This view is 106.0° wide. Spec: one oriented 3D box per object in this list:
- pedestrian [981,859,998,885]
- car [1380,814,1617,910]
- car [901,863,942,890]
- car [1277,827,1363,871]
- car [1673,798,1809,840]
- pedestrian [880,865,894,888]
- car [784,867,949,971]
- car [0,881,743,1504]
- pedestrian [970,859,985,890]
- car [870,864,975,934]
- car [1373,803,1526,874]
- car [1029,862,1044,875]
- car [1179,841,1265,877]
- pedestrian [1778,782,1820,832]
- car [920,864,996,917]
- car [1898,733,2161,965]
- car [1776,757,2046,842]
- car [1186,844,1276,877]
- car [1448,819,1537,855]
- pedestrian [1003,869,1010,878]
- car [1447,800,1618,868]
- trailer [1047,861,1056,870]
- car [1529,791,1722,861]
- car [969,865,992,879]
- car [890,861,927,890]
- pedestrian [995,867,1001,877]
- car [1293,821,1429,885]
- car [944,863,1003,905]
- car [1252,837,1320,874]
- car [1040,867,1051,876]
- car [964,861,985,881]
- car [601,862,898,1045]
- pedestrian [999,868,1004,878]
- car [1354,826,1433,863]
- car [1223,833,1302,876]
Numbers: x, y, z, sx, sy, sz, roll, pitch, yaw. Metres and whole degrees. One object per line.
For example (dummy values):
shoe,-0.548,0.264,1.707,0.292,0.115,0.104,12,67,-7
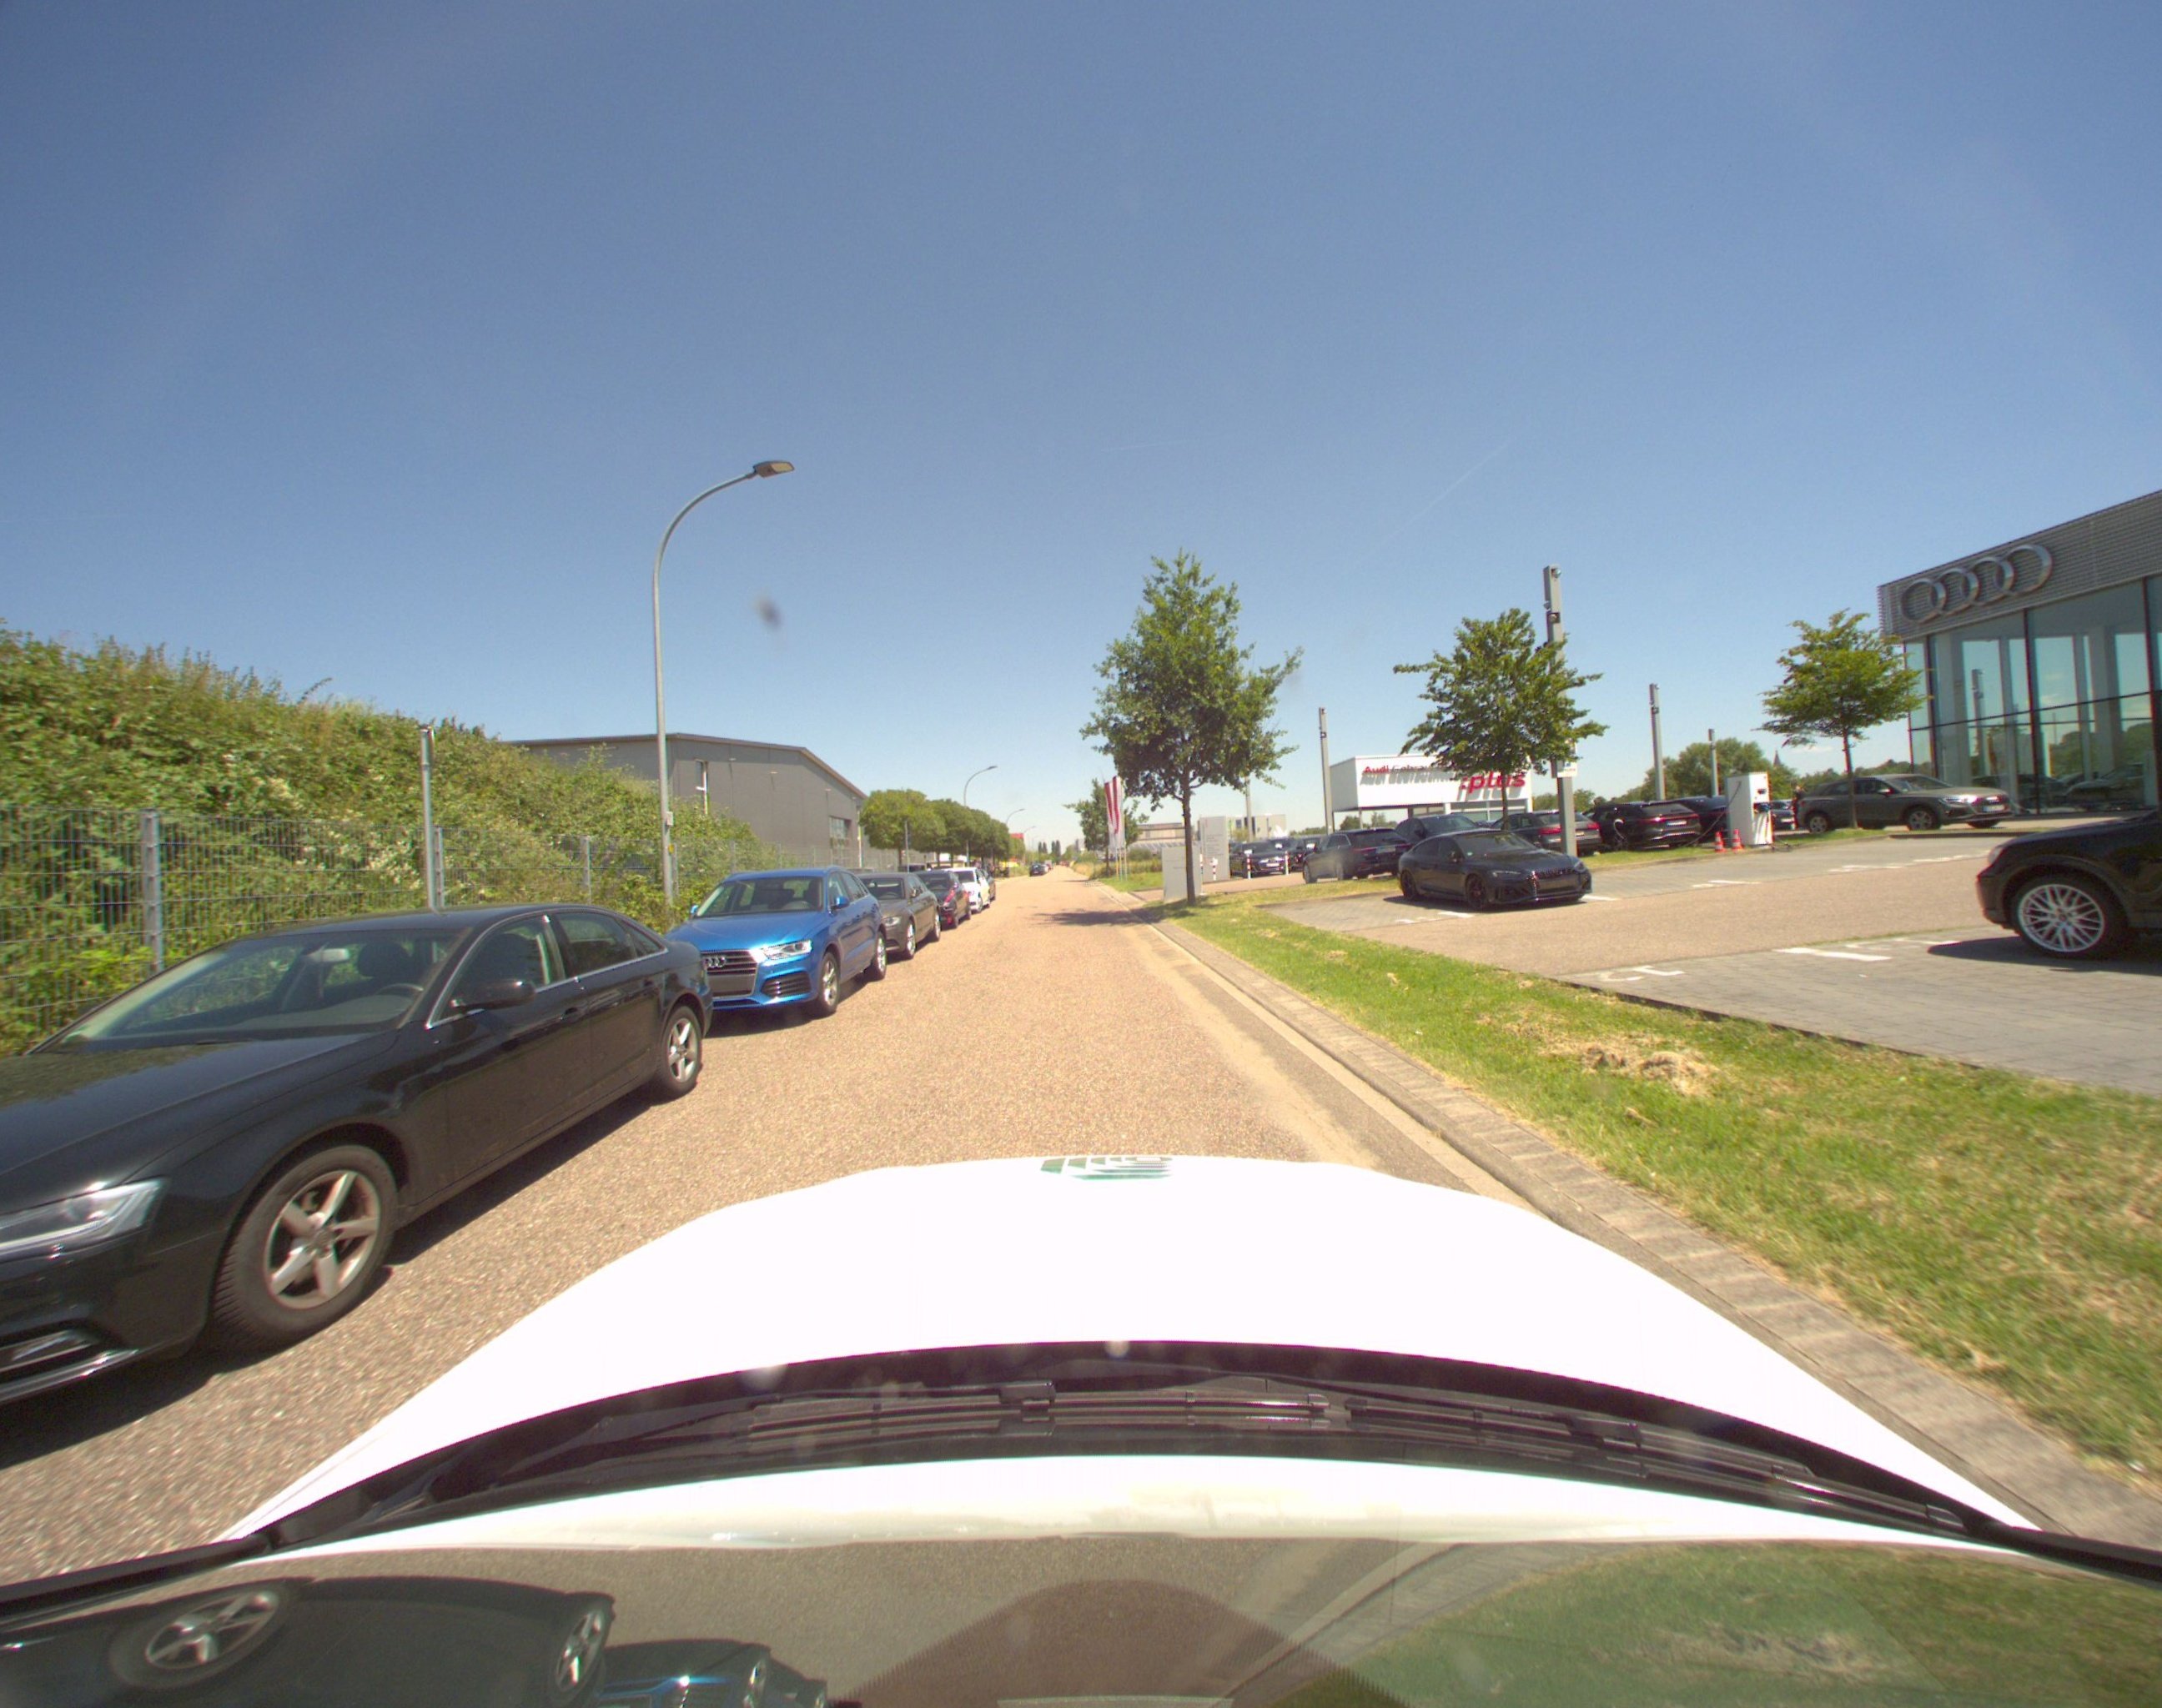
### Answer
pedestrian,-7.129,1.381,63.510,0.832,1.972,0.971,-2,-1,38
car,7.718,0.112,15.707,1.956,1.366,4.717,-6,1,-2
car,-10.110,1.401,51.853,1.760,1.573,4.537,-1,-1,-1
car,10.227,-0.187,35.320,1.891,1.573,5.472,-6,-1,-1
car,29.641,-1.510,36.806,2.019,1.456,4.900,-6,-1,-1
pedestrian,-14.665,1.692,61.555,0.838,1.713,0.964,-1,-1,-2
car,-3.715,1.040,14.960,1.819,1.500,4.517,-3,-1,-1
car,-3.590,0.964,4.276,1.820,1.455,4.576,-3,-1,-3
pedestrian,-6.199,1.222,48.815,0.742,1.802,1.134,-1,-1,0
car,-3.932,1.068,20.975,1.819,1.500,4.517,-3,-1,-1
car,10.394,-0.331,23.481,1.956,1.598,4.982,-4,-2,-2
car,-5.893,1.896,108.181,1.922,1.567,4.185,-3,-1,-3
car,8.280,0.303,48.061,4.520,1.692,2.028,-4,-1,-4
pedestrian,26.696,-1.734,30.297,0.767,1.776,0.745,-4,-1,3
car,-3.904,1.119,26.510,1.819,1.500,4.256,-3,-1,-1
car,8.259,-0.129,5.072,1.883,1.571,4.223,-6,-1,-3
car,21.913,-1.344,21.902,1.956,1.621,4.982,-4,-2,-2
car,8.310,0.371,45.331,4.520,1.457,2.028,-4,-1,-4
car,21.040,-0.827,41.904,2.019,1.590,4.776,-4,-1,-2
pedestrian,-9.146,2.412,100.394,0.747,1.099,0.647,0,-1,2
car,12.728,-0.479,23.422,1.956,1.457,4.982,-4,-2,-2
trailer,-7.315,2.845,202.220,2.195,2.137,4.282,-3,-1,-2
car,15.204,-0.700,23.176,1.956,1.457,4.982,-4,-2,-2
car,-11.039,2.002,89.521,1.921,1.441,4.839,-3,-2,-1
car,-9.884,1.217,46.848,1.681,1.500,3.696,-2,0,-6
pedestrian,-9.145,1.977,89.924,0.476,1.150,0.556,0,-4,8
car,7.751,0.054,23.173,1.956,1.457,4.982,-4,-2,-2
car,-4.285,1.164,33.031,1.819,1.500,4.522,-3,-1,-2
car,10.195,0.082,40.833,2.019,1.590,4.776,-4,-1,-1
car,-6.592,3.258,150.862,1.782,1.520,3.980,-3,-1,-2
car,-10.903,1.721,83.672,1.833,2.019,5.119,0,-1,-4
car,-3.530,0.934,9.685,1.820,1.570,4.382,-3,-1,-3
pedestrian,-9.923,2.367,101.446,0.504,1.192,0.753,0,-1,1
car,15.776,-0.424,41.398,2.019,1.590,4.776,-4,-1,-1
car,7.674,0.062,34.988,2.019,1.514,5.236,-6,-1,-1
